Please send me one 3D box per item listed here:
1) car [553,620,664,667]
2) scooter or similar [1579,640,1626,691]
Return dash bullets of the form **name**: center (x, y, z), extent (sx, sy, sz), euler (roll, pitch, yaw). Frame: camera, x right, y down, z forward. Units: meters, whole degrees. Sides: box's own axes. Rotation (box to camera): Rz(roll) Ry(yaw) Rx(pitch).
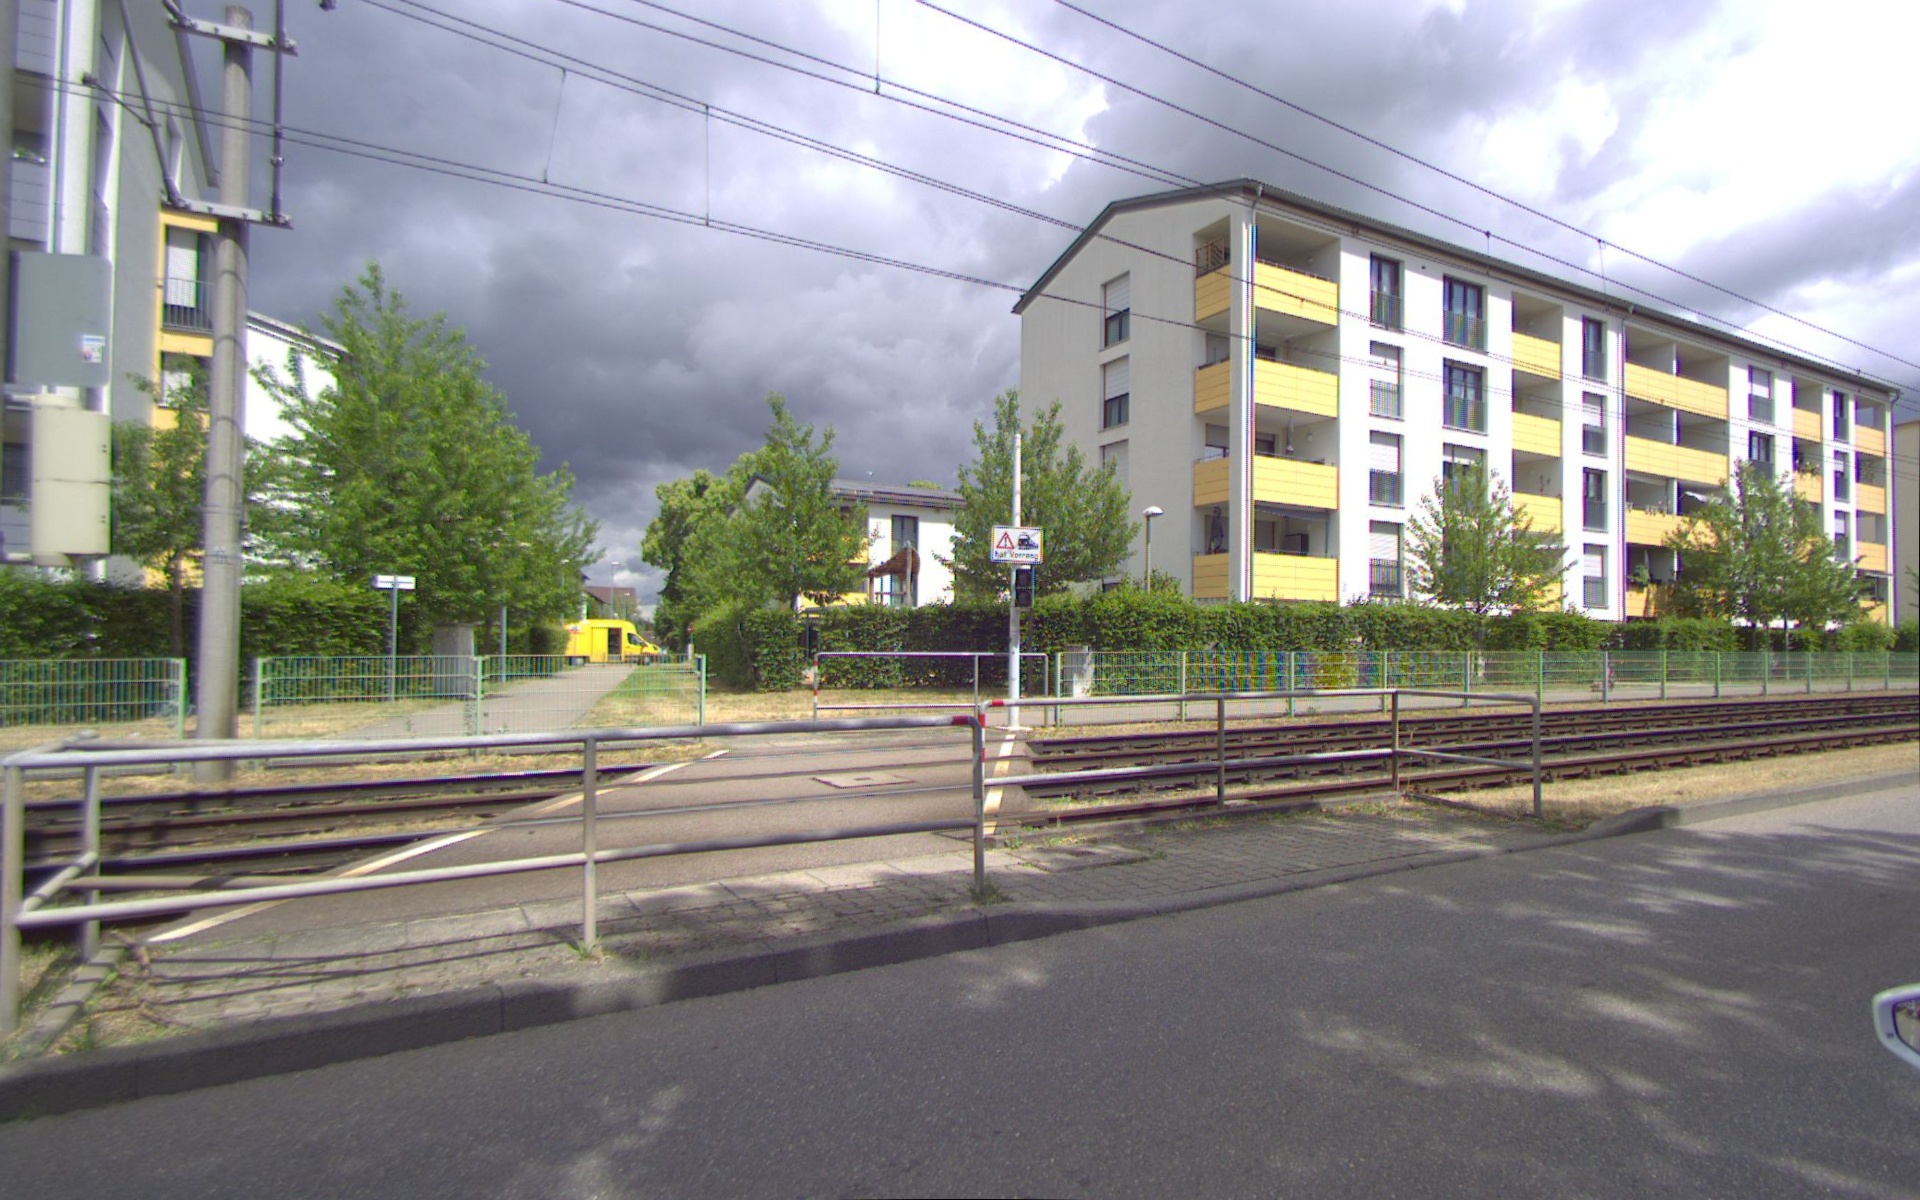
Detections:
- **car**: center (-21.743, 2.649, 62.144), extent (6.154, 2.816, 2.303), euler (1, -1, -30)
- **scooter or similar**: center (16.881, 1.698, 26.387), extent (1.286, 1.310, 0.488), euler (1, -1, -29)
